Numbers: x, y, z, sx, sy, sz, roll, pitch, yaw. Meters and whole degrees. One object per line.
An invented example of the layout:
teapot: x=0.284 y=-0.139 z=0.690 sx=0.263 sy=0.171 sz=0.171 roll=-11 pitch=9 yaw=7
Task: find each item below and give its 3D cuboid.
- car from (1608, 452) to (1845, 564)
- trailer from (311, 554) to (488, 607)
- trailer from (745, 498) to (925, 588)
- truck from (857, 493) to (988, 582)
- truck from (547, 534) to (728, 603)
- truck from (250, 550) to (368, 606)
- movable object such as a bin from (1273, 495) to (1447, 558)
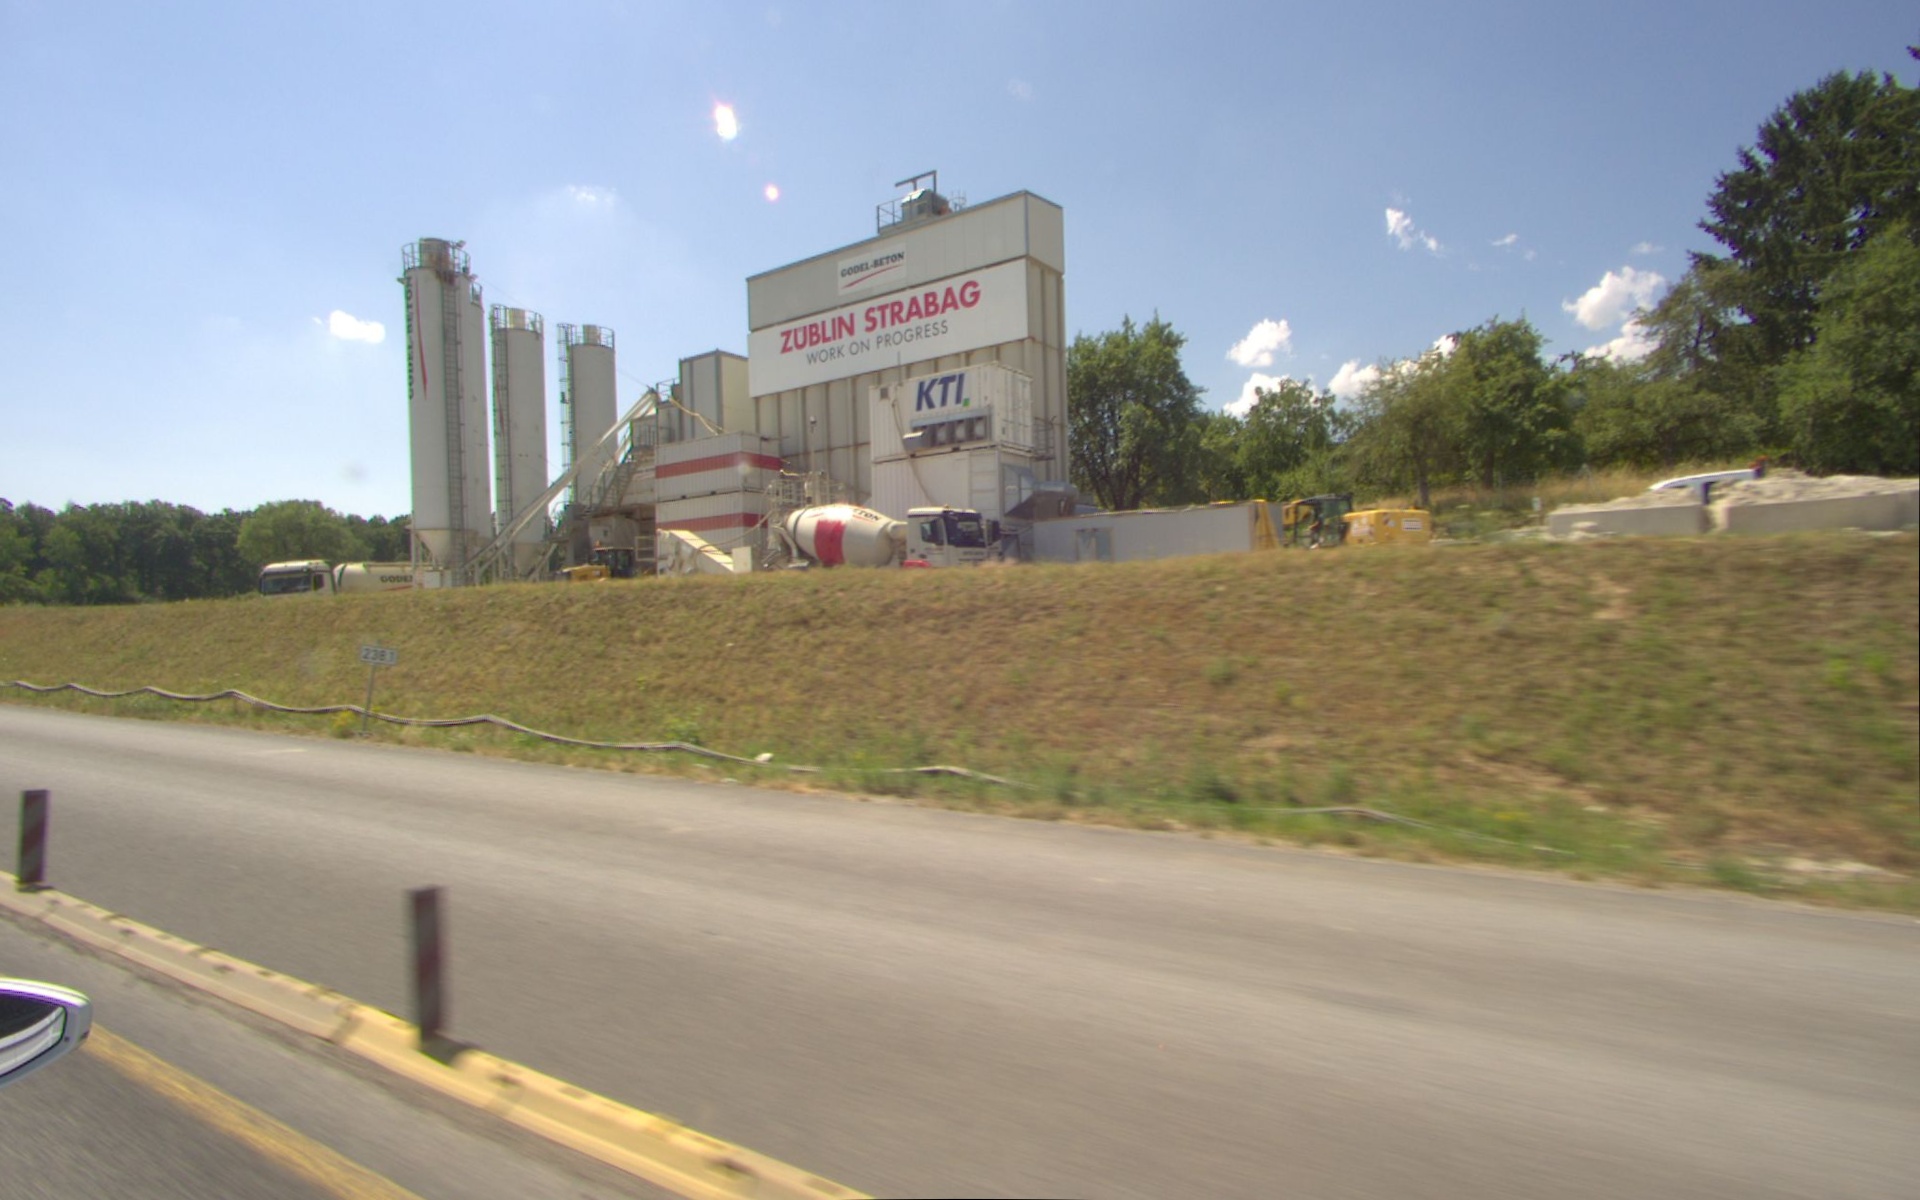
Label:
car: x=15.153 y=-1.748 z=20.081 sx=3.550 sy=1.785 sz=1.982 roll=-1 pitch=-2 yaw=32
trailer: x=-31.443 y=-1.000 z=56.699 sx=2.426 sy=2.640 sz=8.888 roll=-1 pitch=-1 yaw=28
trailer: x=-4.565 y=-1.926 z=35.741 sx=6.845 sy=2.678 sz=1.988 roll=-2 pitch=-2 yaw=36
truck: x=-1.258 y=-1.991 z=33.300 sx=3.987 sy=2.577 sz=2.012 roll=-1 pitch=-2 yaw=36
truck: x=-16.213 y=-1.466 z=51.115 sx=2.429 sy=2.904 sz=9.041 roll=-1 pitch=-2 yaw=37
truck: x=-33.207 y=-1.059 z=51.322 sx=2.849 sy=2.576 sz=5.310 roll=0 pitch=-2 yaw=-4
movable object such as a bin: x=5.746 y=-1.029 z=14.445 sx=2.217 sy=0.690 sz=0.835 roll=-1 pitch=-2 yaw=32
